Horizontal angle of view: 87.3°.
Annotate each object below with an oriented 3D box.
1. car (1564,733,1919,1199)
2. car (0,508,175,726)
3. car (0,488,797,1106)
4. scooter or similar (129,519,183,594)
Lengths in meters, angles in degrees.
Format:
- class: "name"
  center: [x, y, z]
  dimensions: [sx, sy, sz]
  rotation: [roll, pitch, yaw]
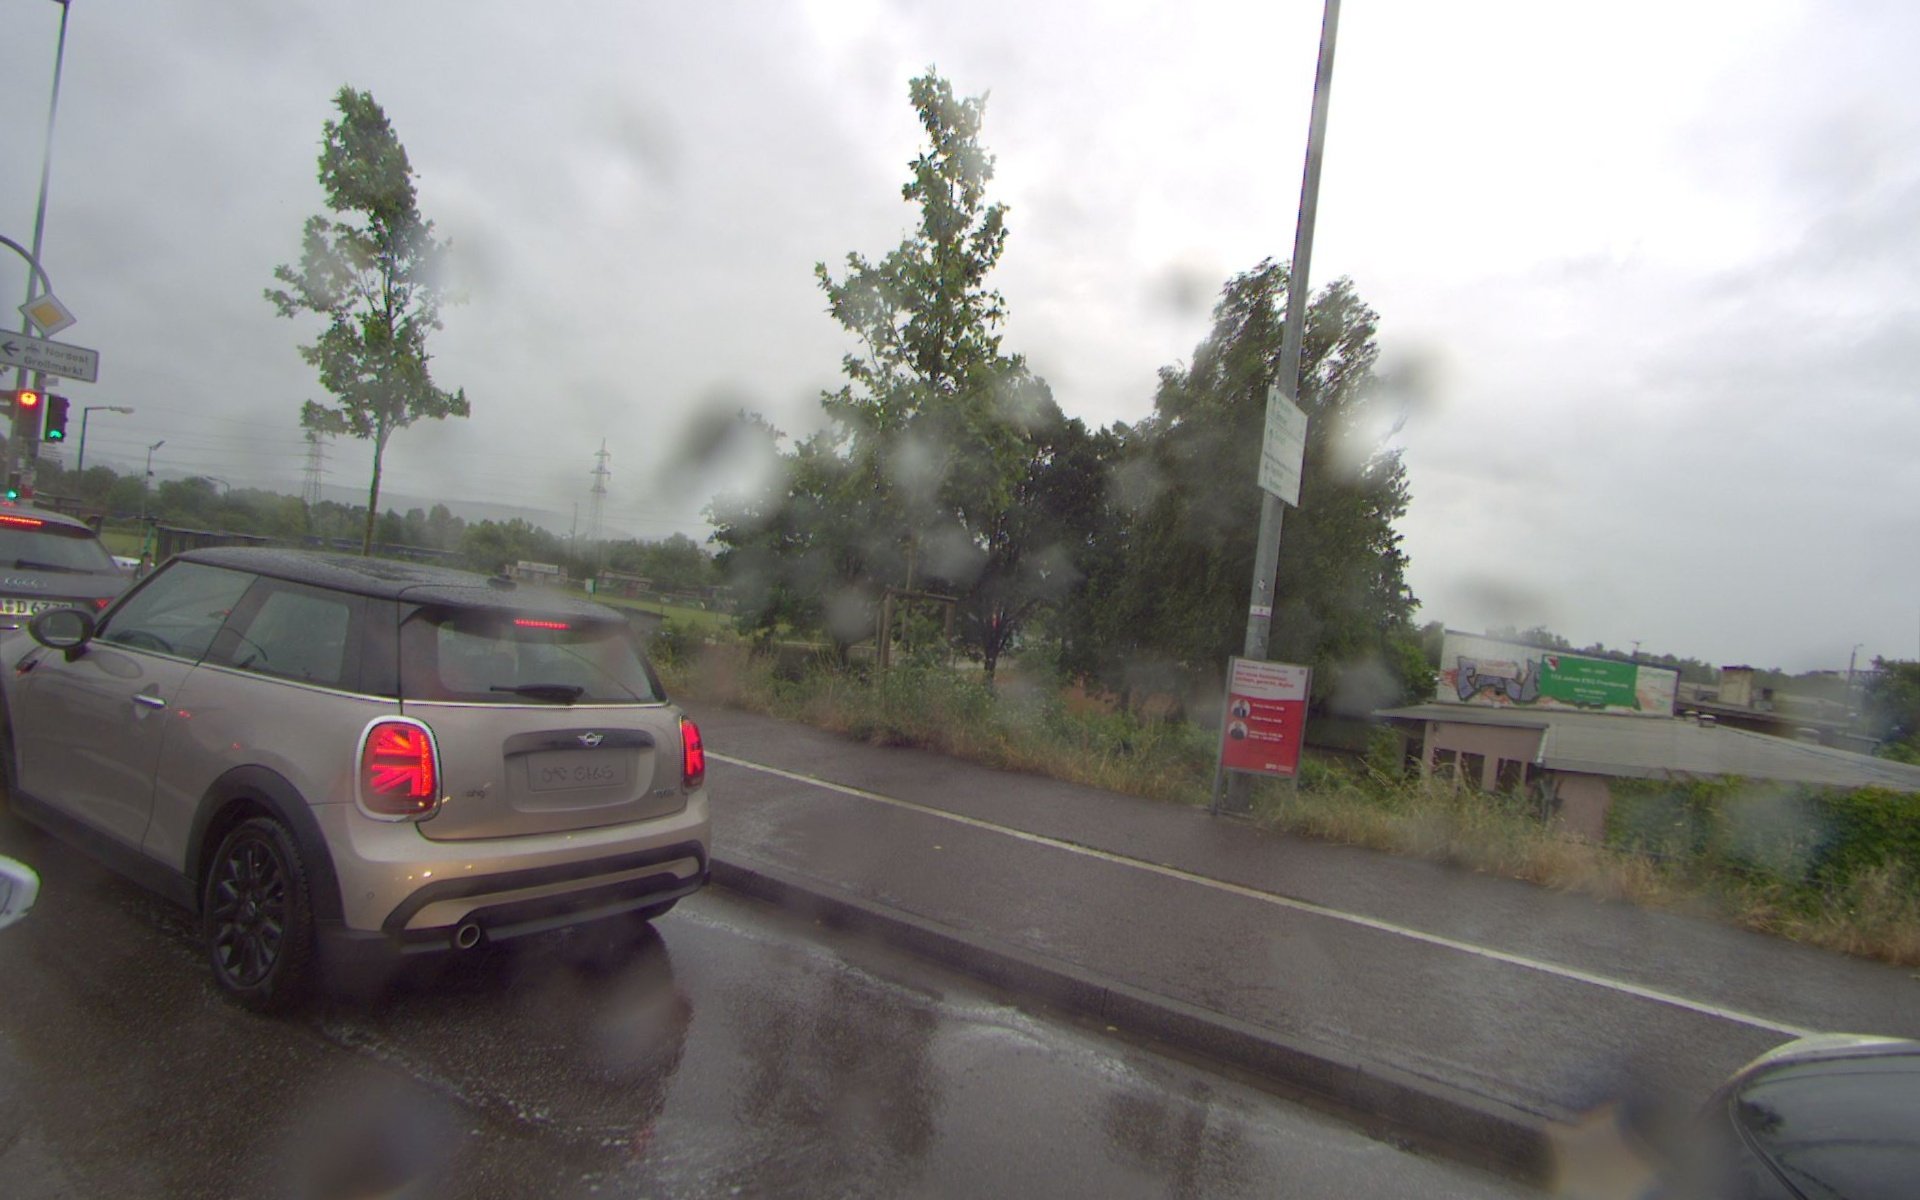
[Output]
- class: "car"
  center: [2.787, 1.183, 1.052]
  dimensions: [3.563, 1.445, 1.632]
  rotation: [7, -1, 31]
- class: "car"
  center: [-7.494, -0.052, 7.231]
  dimensions: [3.563, 1.360, 1.632]
  rotation: [6, -2, 31]
- class: "car"
  center: [-2.713, 0.490, 4.328]
  dimensions: [3.563, 1.525, 1.717]
  rotation: [7, -2, 31]
- class: "scooter or similar"
  center: [-13.590, -0.748, 16.993]
  dimensions: [1.167, 1.171, 0.246]
  rotation: [6, -1, 33]
